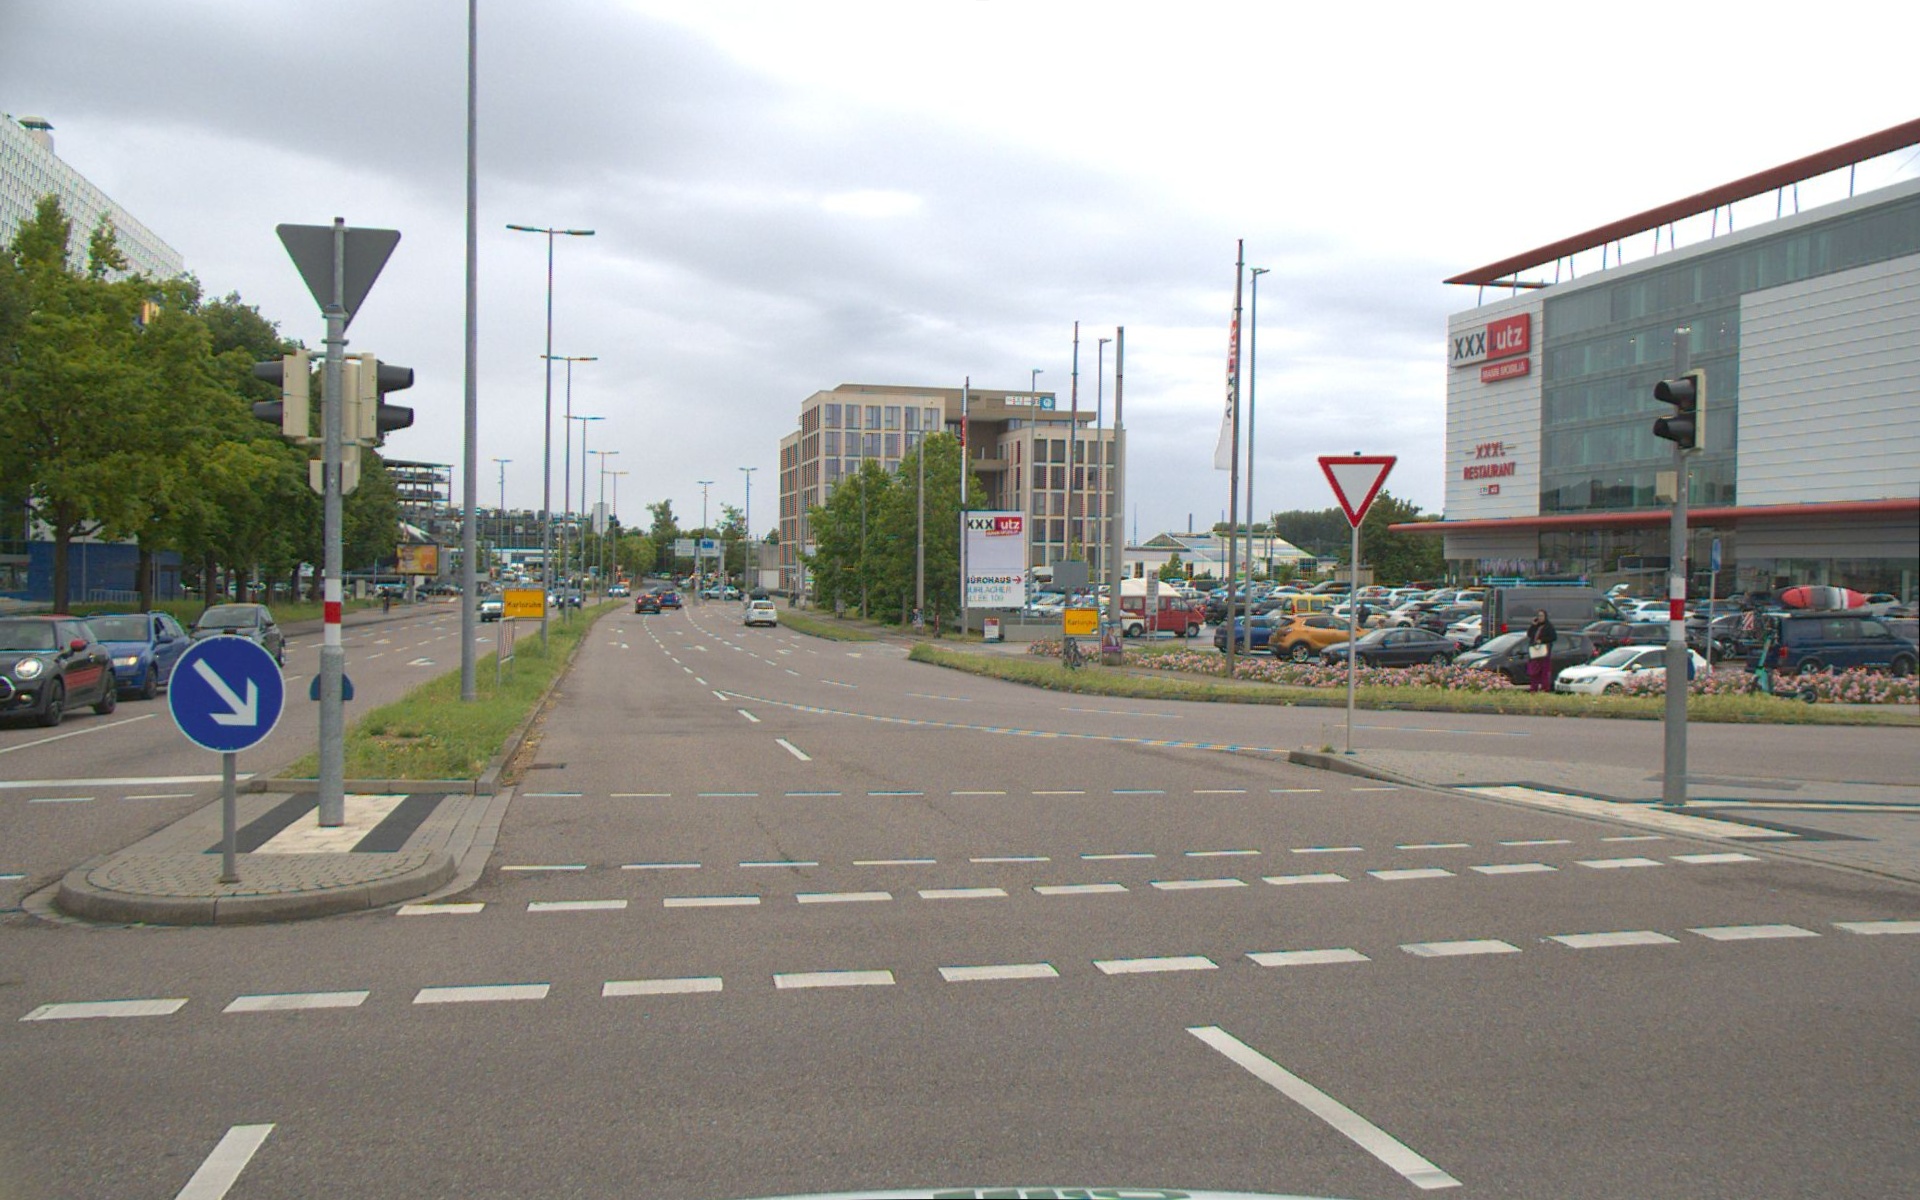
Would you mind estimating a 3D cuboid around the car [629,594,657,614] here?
[{"bbox_3d":[-23.829,0.275,124.413,1.953,1.453,4.228,1,0,-12],"label":"car"}]

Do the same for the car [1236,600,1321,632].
[{"bbox_3d":[16.605,0.816,86.237,3.917,1.561,1.883,1,0,-13],"label":"car"}]

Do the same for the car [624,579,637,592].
[{"bbox_3d":[-43.528,-1.931,218.808,1.571,1.478,3.317,1,3,-10],"label":"car"}]

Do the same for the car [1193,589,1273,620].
[{"bbox_3d":[15.480,0.256,93.910,4.095,1.693,1.830,1,1,-9],"label":"car"}]

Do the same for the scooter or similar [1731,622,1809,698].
[{"bbox_3d":[13.823,1.021,28.241,1.143,1.254,0.344,0,-1,41],"label":"scooter or similar"}]

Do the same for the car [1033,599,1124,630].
[{"bbox_3d":[6.135,0.767,85.985,4.385,1.443,1.863,1,3,-10],"label":"car"}]

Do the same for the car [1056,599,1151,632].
[{"bbox_3d":[7.076,0.760,81.747,4.295,1.486,1.957,1,3,-10],"label":"car"}]

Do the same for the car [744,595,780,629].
[{"bbox_3d":[-11.939,0.685,99.523,1.957,1.782,4.172,1,3,-10],"label":"car"}]

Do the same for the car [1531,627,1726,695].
[{"bbox_3d":[16.240,1.470,40.249,4.036,1.470,1.870,1,3,-13],"label":"car"}]

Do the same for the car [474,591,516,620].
[{"bbox_3d":[-26.482,0.314,94.231,1.896,1.545,4.171,-2,0,-11],"label":"car"}]

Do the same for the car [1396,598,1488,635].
[{"bbox_3d":[23.345,0.799,80.184,3.914,1.663,1.782,1,0,-10],"label":"car"}]

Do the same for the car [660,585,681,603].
[{"bbox_3d":[-25.897,-0.572,147.933,1.802,1.541,3.990,2,1,-11],"label":"car"}]

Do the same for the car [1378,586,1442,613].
[{"bbox_3d":[28.328,-0.032,104.122,3.501,1.615,1.737,1,0,-7],"label":"car"}]

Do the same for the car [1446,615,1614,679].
[{"bbox_3d":[15.634,1.275,45.441,4.019,1.610,1.765,1,2,-12],"label":"car"}]

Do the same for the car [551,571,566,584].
[{"bbox_3d":[-60.219,-3.380,248.115,1.741,1.735,3.913,1,3,-6],"label":"car"}]

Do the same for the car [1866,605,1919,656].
[{"bbox_3d":[36.972,1.142,63.145,3.916,1.894,1.828,0,0,-11],"label":"car"}]

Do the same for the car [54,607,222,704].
[{"bbox_3d":[-14.042,0.894,28.472,1.574,1.469,4.131,-2,0,-12],"label":"car"}]

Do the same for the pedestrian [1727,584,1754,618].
[{"bbox_3d":[44.066,0.045,93.368,0.939,1.901,0.959,0,3,-35],"label":"pedestrian"}]

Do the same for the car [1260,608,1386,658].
[{"bbox_3d":[12.661,1.152,57.808,3.911,1.672,1.812,1,0,-7],"label":"car"}]

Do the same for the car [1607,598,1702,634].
[{"bbox_3d":[33.445,0.771,79.705,3.918,1.683,1.828,1,0,-14],"label":"car"}]

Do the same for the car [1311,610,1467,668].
[{"bbox_3d":[13.613,1.234,52.576,4.442,1.610,1.767,1,3,-9],"label":"car"}]

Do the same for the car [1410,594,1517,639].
[{"bbox_3d":[20.486,0.668,67.339,3.824,1.682,1.826,-1,2,-14],"label":"car"}]

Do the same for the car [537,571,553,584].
[{"bbox_3d":[-62.136,-3.345,247.597,1.741,1.735,3.913,1,3,-6],"label":"car"}]

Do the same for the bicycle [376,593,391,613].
[{"bbox_3d":[-38.249,0.194,109.788,0.631,1.272,2.050,2,1,-12],"label":"bicycle"}]

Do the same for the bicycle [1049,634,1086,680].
[{"bbox_3d":[2.645,1.407,41.004,0.650,1.067,1.690,1,0,-5],"label":"bicycle"}]

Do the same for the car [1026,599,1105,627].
[{"bbox_3d":[5.802,0.711,91.385,3.983,1.373,1.830,1,3,-13],"label":"car"}]

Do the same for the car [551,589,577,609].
[{"bbox_3d":[-31.900,-0.071,133.191,1.897,1.512,4.426,-1,1,-12],"label":"car"}]

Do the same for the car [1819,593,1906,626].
[{"bbox_3d":[47.907,0.498,87.797,3.726,1.581,1.825,1,3,-13],"label":"car"}]

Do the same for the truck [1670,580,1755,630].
[{"bbox_3d":[37.797,0.243,83.098,3.507,2.428,1.734,1,0,-13],"label":"truck"}]

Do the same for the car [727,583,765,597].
[{"bbox_3d":[-25.824,-1.208,199.637,4.346,1.689,1.990,1,0,-18],"label":"car"}]

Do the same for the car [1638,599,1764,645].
[{"bbox_3d":[27.367,0.804,61.144,3.915,1.583,1.850,1,0,-11],"label":"car"}]

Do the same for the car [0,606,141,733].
[{"bbox_3d":[-12.531,0.870,22.432,1.633,1.529,4.051,0,0,-13],"label":"car"}]

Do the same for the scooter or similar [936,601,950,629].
[{"bbox_3d":[-0.886,0.762,84.661,0.637,1.446,1.818,0,0,-3],"label":"scooter or similar"}]

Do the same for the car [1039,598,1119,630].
[{"bbox_3d":[6.402,0.760,89.158,3.980,1.567,1.760,1,3,-10],"label":"car"}]

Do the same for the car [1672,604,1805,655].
[{"bbox_3d":[27.499,1.023,58.457,3.915,1.699,1.881,0,0,-10],"label":"car"}]

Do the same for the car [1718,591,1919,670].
[{"bbox_3d":[24.814,0.856,47.792,4.939,2.203,2.119,0,0,-7],"label":"car"}]

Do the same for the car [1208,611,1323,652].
[{"bbox_3d":[11.539,1.169,62.573,3.915,1.480,1.810,1,0,-11],"label":"car"}]

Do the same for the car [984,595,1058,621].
[{"bbox_3d":[3.608,0.462,98.081,4.080,1.373,1.804,1,3,-13],"label":"car"}]

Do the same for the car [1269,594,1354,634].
[{"bbox_3d":[17.335,0.679,81.587,3.668,1.798,1.730,1,2,-10],"label":"car"}]

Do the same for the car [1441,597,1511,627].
[{"bbox_3d":[30.200,0.699,96.923,3.501,1.615,1.737,1,0,-8],"label":"car"}]

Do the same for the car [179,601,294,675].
[{"bbox_3d":[-16.348,0.824,37.530,1.574,1.524,4.025,-2,0,-12],"label":"car"}]

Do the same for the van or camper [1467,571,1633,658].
[{"bbox_3d":[21.271,0.509,59.758,5.273,3.036,1.990,1,0,-4],"label":"van or camper"}]

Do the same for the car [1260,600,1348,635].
[{"bbox_3d":[17.440,0.875,83.980,3.915,1.623,1.875,1,3,-11],"label":"car"}]

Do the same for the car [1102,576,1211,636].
[{"bbox_3d":[9.177,0.260,77.410,4.637,2.623,2.166,1,2,-10],"label":"car"}]

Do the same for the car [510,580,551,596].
[{"bbox_3d":[-49.390,-1.359,190.221,4.365,1.741,1.990,1,2,-19],"label":"car"}]

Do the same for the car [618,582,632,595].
[{"bbox_3d":[-42.677,-1.527,210.705,1.571,1.478,3.317,1,3,-10],"label":"car"}]

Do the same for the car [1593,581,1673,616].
[{"bbox_3d":[38.626,-0.092,94.925,3.920,1.854,1.797,1,3,-15],"label":"car"}]

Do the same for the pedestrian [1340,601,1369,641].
[{"bbox_3d":[17.730,0.950,74.393,0.923,1.749,0.883,1,2,-13],"label":"pedestrian"}]

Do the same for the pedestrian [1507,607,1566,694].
[{"bbox_3d":[10.958,0.956,31.451,0.771,1.625,0.711,1,-2,-25],"label":"pedestrian"}]

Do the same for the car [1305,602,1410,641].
[{"bbox_3d":[18.322,0.967,76.308,4.331,1.611,1.830,1,2,-10],"label":"car"}]

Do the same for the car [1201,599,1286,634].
[{"bbox_3d":[15.641,0.908,91.455,4.233,1.774,1.885,1,2,-9],"label":"car"}]

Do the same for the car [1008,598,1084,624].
[{"bbox_3d":[4.912,0.615,94.577,3.983,1.373,1.759,1,3,-13],"label":"car"}]

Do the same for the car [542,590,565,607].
[{"bbox_3d":[-36.529,-0.169,148.600,1.833,1.479,4.157,-1,0,-11],"label":"car"}]

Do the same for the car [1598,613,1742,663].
[{"bbox_3d":[23.451,1.245,54.704,3.910,1.583,1.945,1,0,-6],"label":"car"}]

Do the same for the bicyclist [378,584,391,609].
[{"bbox_3d":[-38.219,-0.225,109.808,0.629,1.605,0.997,2,0,-12],"label":"bicyclist"}]

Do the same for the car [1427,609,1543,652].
[{"bbox_3d":[20.501,1.176,64.668,3.914,1.579,1.859,1,0,-10],"label":"car"}]
